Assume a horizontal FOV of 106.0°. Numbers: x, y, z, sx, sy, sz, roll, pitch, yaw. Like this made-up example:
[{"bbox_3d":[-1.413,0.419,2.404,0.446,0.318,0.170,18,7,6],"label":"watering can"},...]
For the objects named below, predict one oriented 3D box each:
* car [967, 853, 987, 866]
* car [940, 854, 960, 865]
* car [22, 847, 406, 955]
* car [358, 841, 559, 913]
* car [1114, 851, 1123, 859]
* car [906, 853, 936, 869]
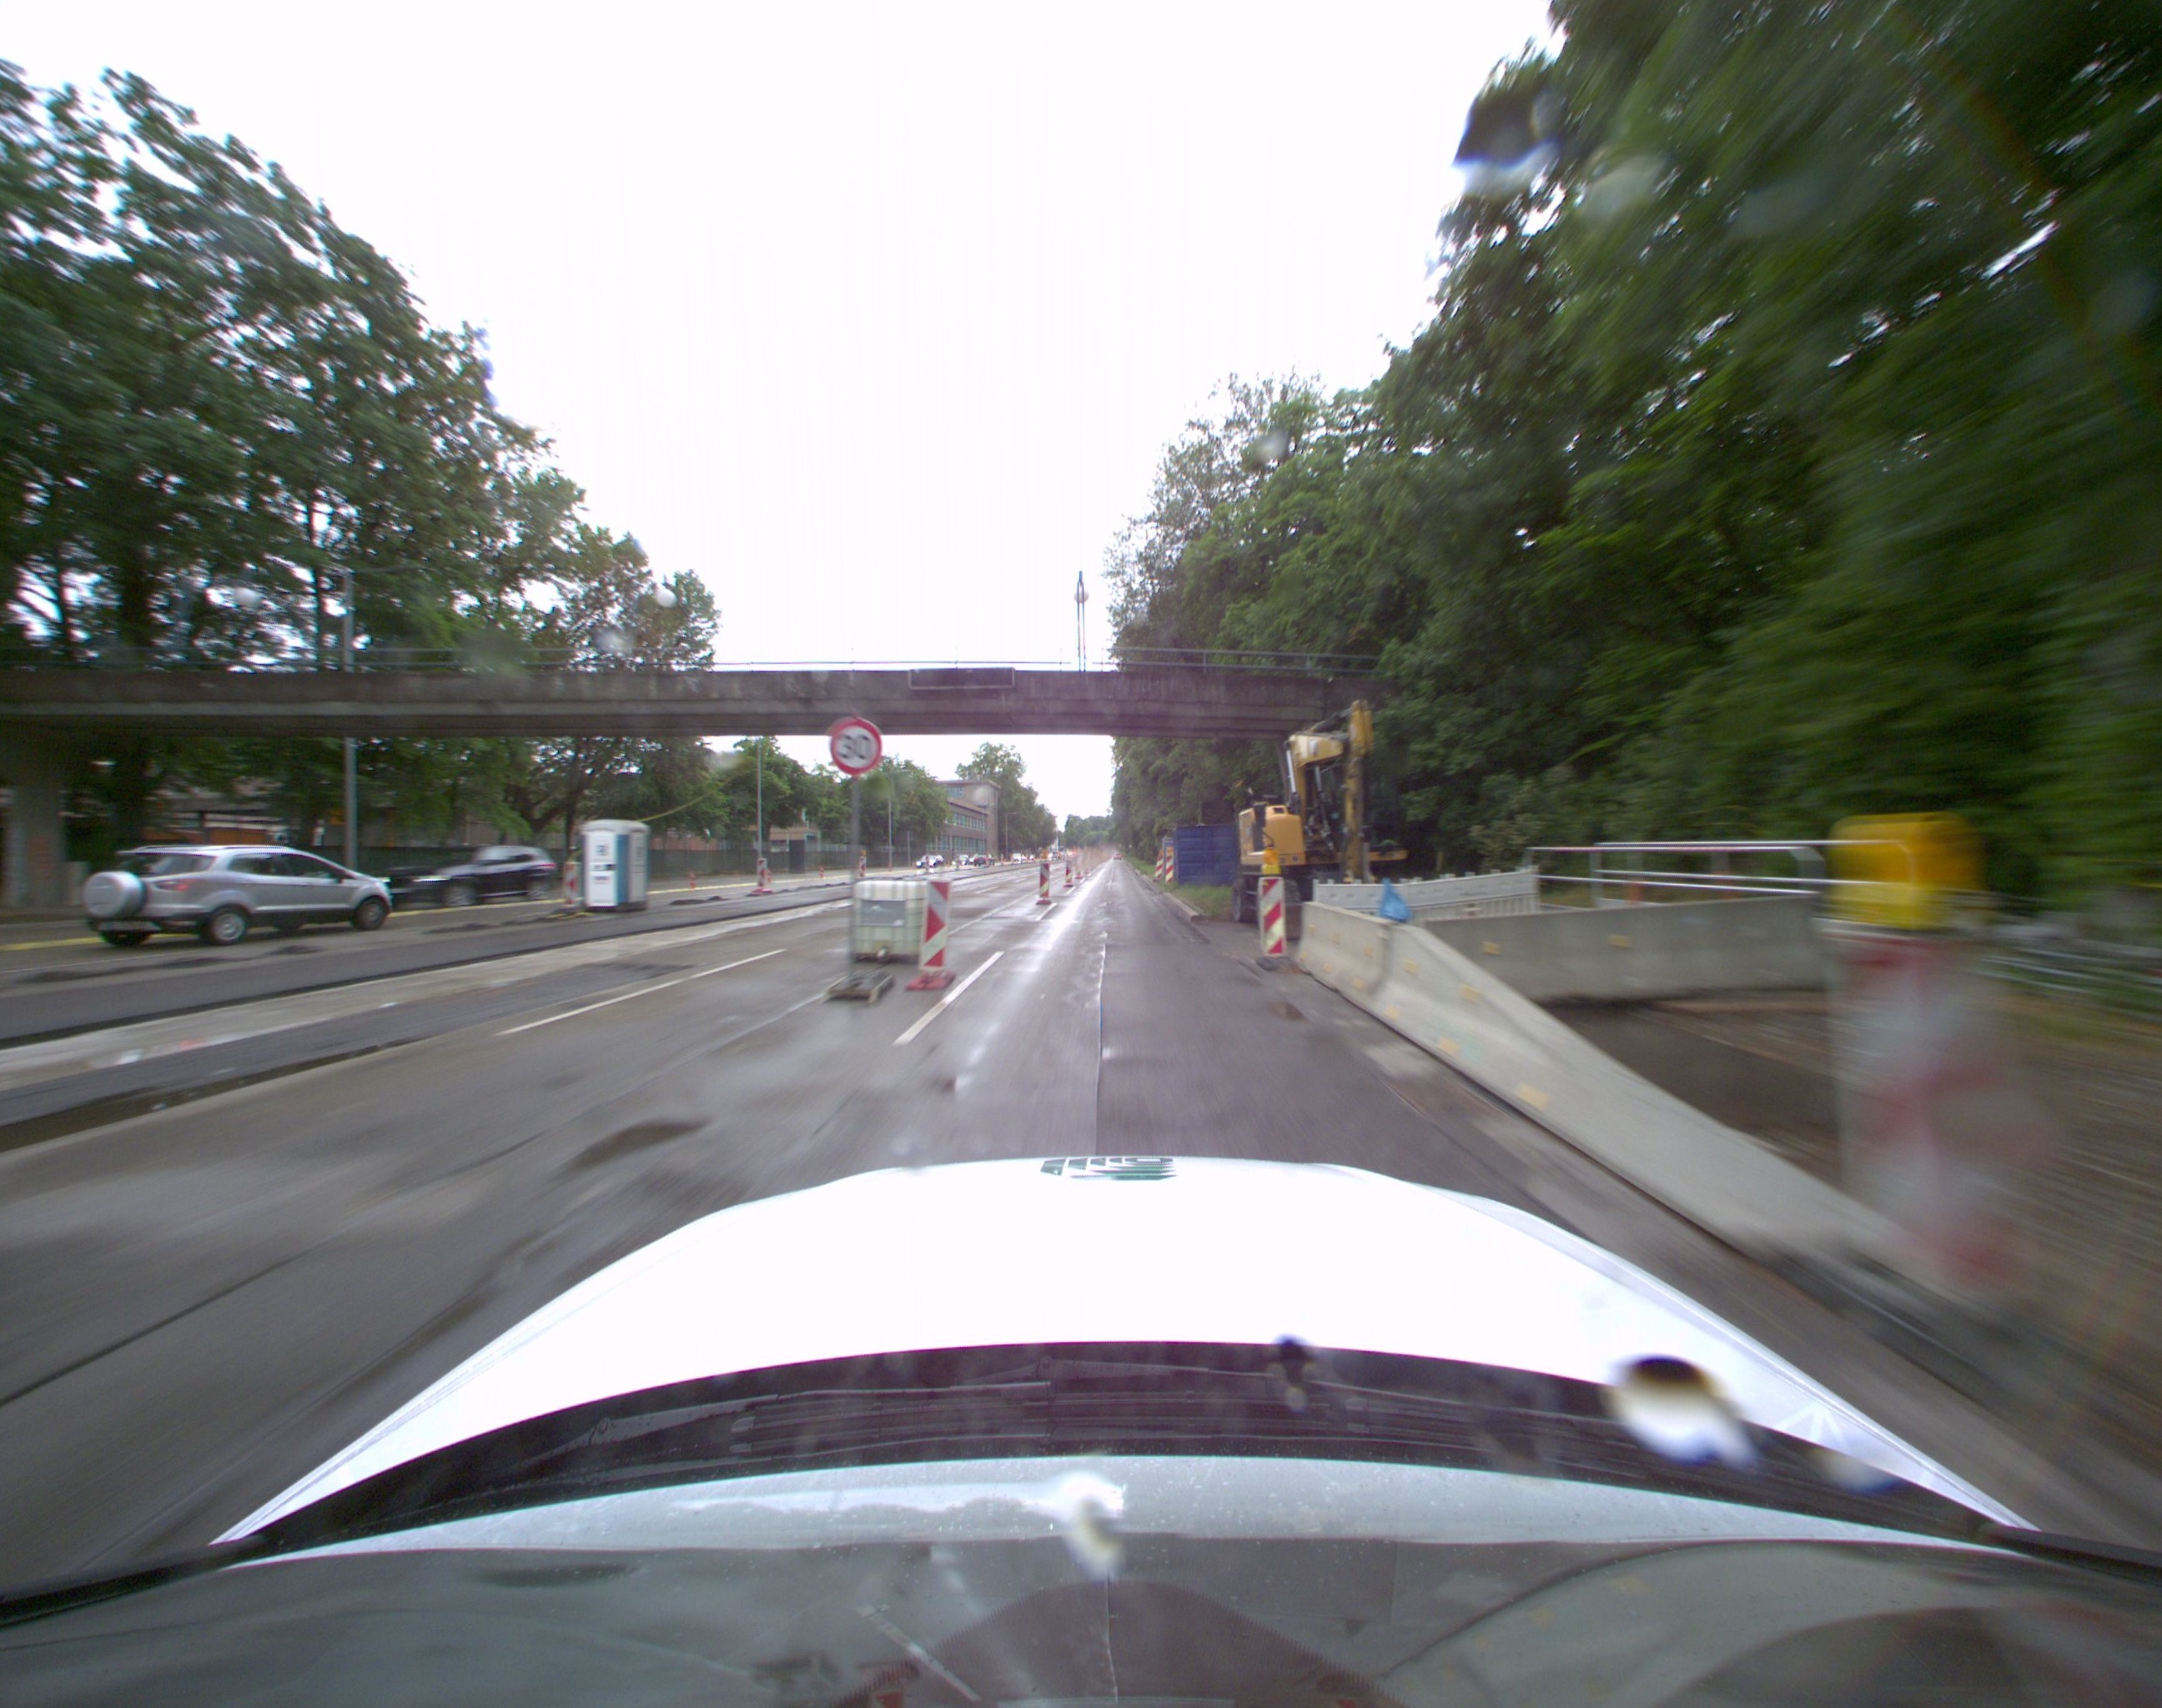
[{"bbox_3d":[-12.500,0.638,98.133,1.716,1.442,4.003,-2,0,3],"label":"car"},{"bbox_3d":[-17.802,0.738,110.908,1.963,1.442,4.002,-2,0,2],"label":"car"},{"bbox_3d":[-14.498,0.664,14.096,1.882,1.564,4.365,0,0,1],"label":"car"},{"bbox_3d":[-17.426,0.593,23.171,1.963,1.806,4.611,-2,0,3],"label":"car"},{"bbox_3d":[8.703,0.194,190.206,1.986,1.640,4.002,-2,0,2],"label":"car"},{"bbox_3d":[-15.681,0.679,79.999,1.963,1.442,4.003,-2,0,3],"label":"car"}]
